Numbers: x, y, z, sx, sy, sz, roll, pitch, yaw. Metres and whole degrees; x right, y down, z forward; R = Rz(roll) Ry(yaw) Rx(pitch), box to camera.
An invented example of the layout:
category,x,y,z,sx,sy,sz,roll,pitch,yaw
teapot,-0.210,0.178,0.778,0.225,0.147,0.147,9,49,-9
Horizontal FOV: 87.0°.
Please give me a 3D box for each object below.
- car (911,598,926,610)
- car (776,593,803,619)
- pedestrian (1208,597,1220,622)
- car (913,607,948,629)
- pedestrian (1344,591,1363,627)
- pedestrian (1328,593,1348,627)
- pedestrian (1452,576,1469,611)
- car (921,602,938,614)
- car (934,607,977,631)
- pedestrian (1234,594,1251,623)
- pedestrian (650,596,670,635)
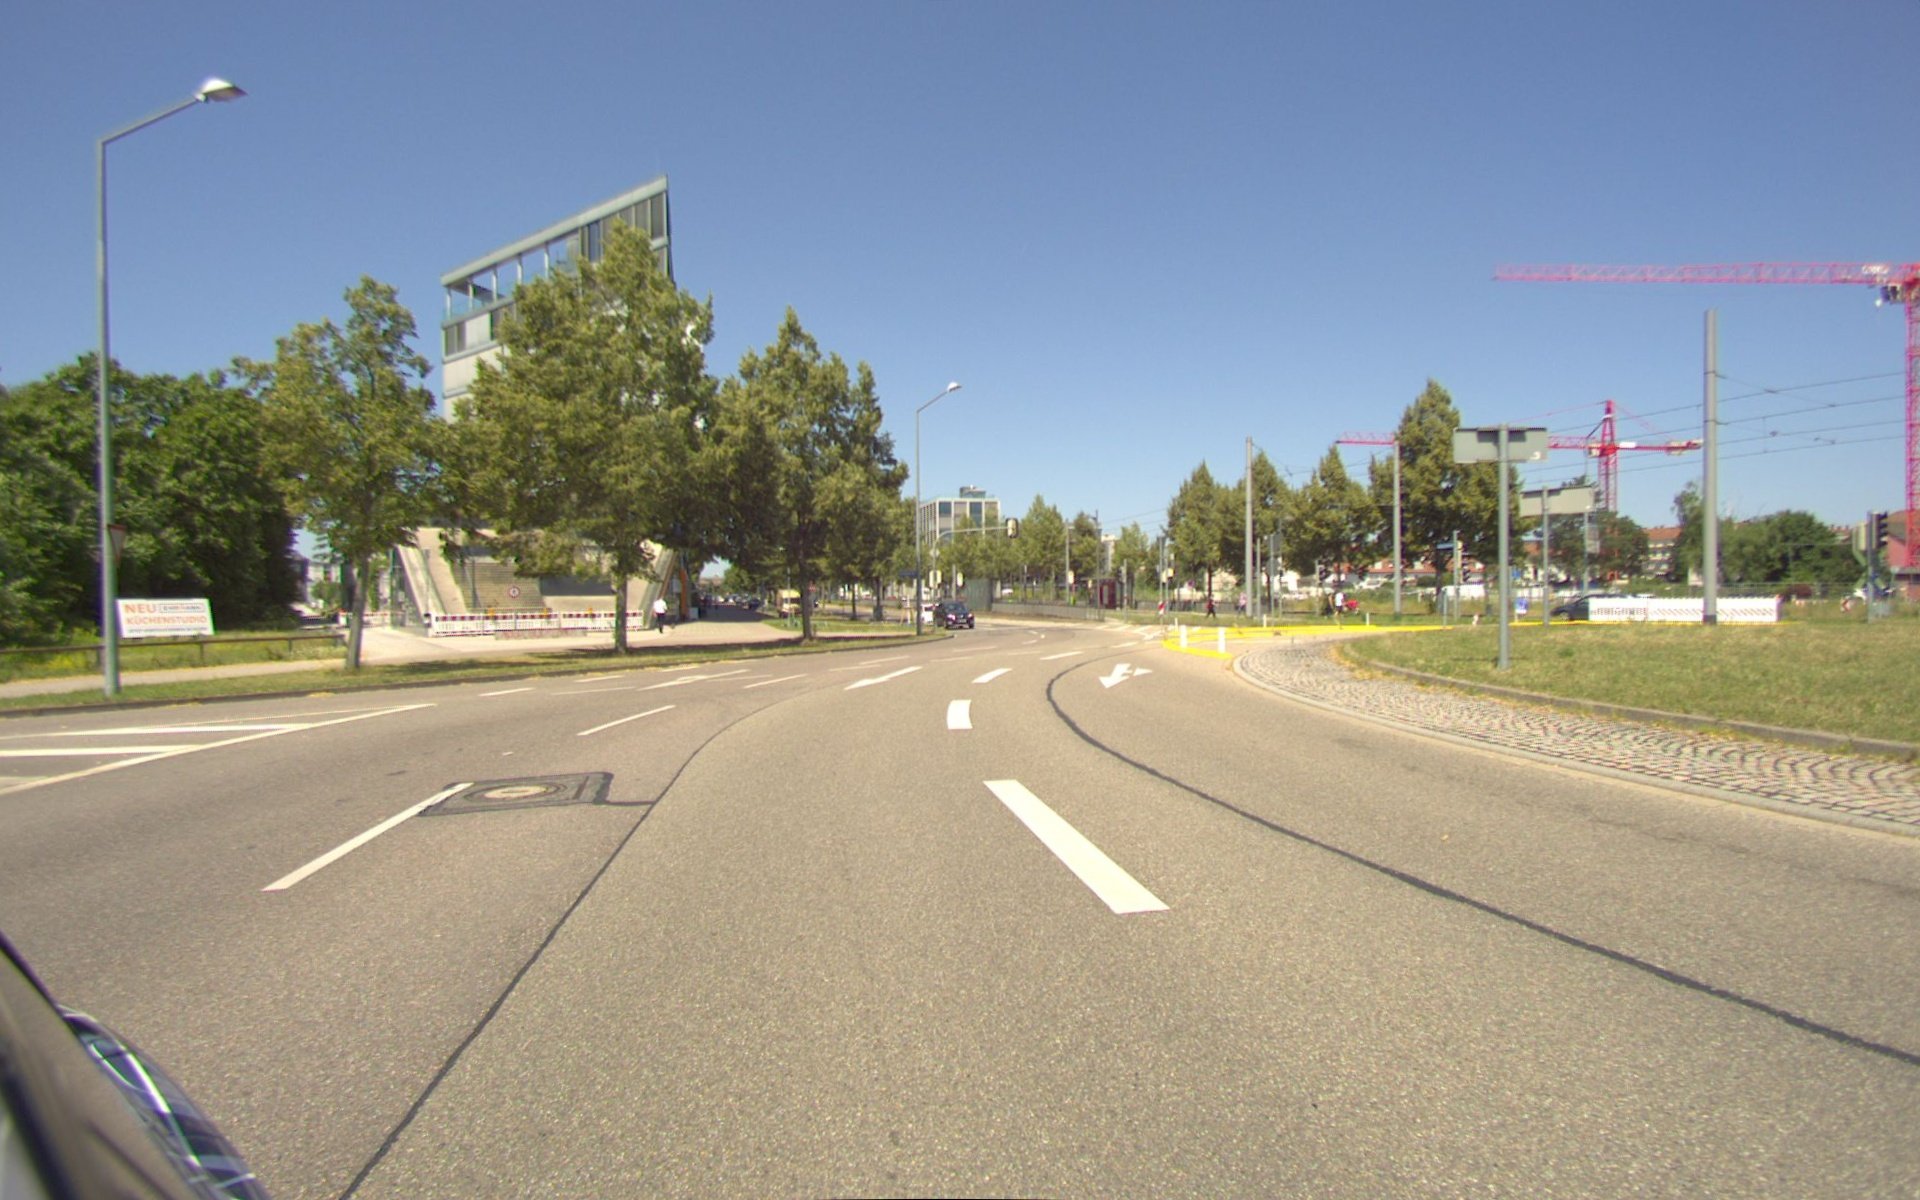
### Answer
category,x,y,z,sx,sy,sz,roll,pitch,yaw
car,-7.596,0.734,185.846,1.967,2.028,4.011,0,2,-13
car,-16.736,0.590,99.185,1.966,2.527,4.012,-1,0,-17
pedestrian,14.383,0.542,57.329,0.591,1.417,0.541,-1,0,13
car,-1.885,1.101,63.919,1.551,1.234,3.332,0,2,-13
pedestrian,22.284,0.512,57.337,0.735,2.028,0.733,0,1,-3
pedestrian,21.420,0.558,57.330,0.802,1.912,0.733,0,1,-3
pedestrian,29.136,-0.361,58.900,0.585,2.028,0.605,0,1,-15
car,-5.340,1.396,175.816,1.966,2.028,3.914,0,2,-16
car,-0.310,1.076,58.374,1.712,1.221,3.576,0,2,-13
pedestrian,16.473,0.500,58.989,0.750,1.652,0.782,0,1,-2
pedestrian,-14.811,0.748,49.953,0.823,1.883,0.612,0,1,-1
